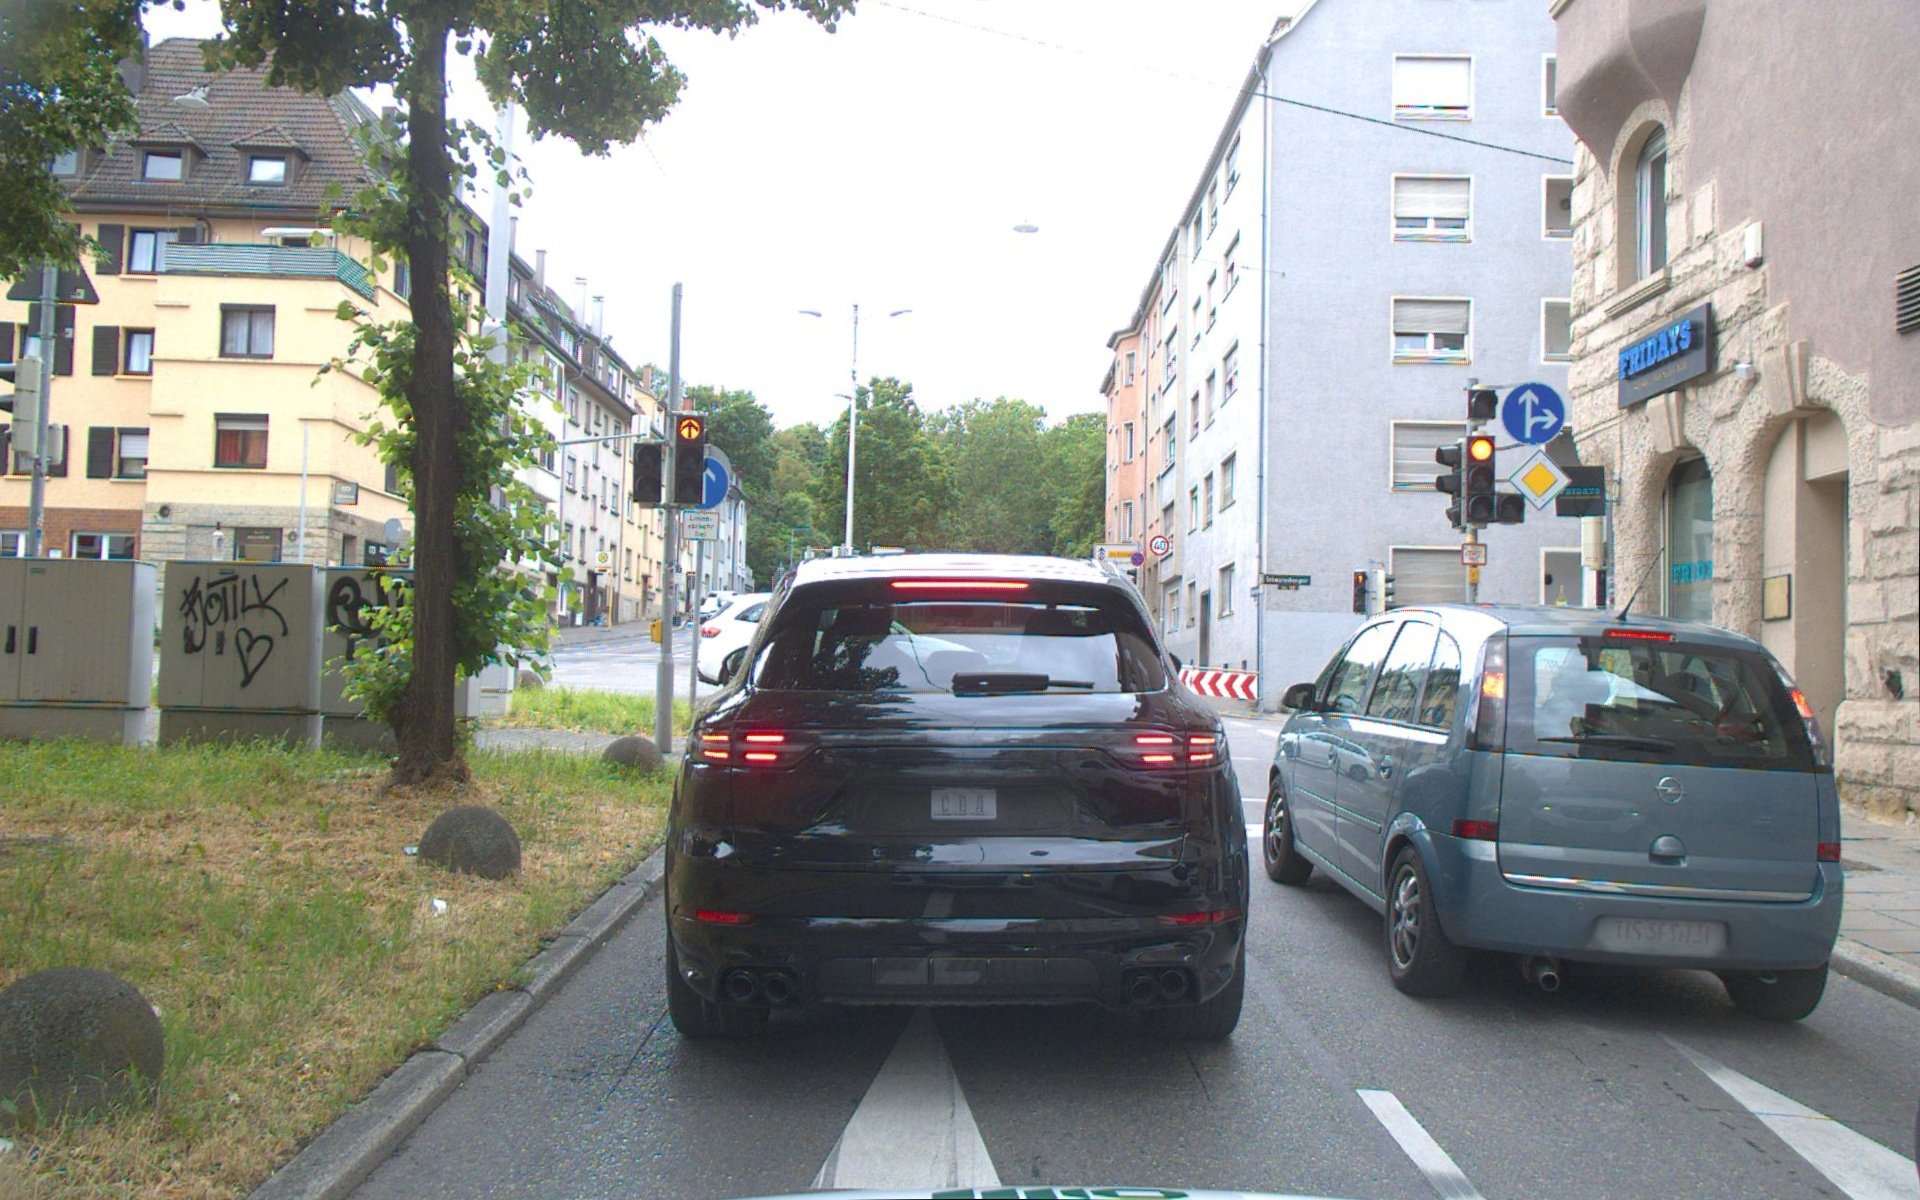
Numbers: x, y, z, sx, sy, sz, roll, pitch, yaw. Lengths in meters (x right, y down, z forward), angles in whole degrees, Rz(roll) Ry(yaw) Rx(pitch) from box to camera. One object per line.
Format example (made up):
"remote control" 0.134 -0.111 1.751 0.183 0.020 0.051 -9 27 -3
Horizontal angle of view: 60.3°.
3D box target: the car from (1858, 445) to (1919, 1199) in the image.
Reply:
"car" 2.904 0.661 1.040 1.936 1.806 4.674 4 0 -2

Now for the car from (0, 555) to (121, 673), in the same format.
"car" -14.046 0.152 22.670 4.161 1.547 1.662 2 -1 -12

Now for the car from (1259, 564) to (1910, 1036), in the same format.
"car" 2.630 0.742 7.907 1.596 1.625 3.668 4 0 -1

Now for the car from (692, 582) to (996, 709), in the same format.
"car" -1.666 0.656 23.802 4.168 1.622 1.688 2 -1 -6

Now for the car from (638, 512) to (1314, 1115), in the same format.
"car" 0.023 0.615 6.703 1.916 1.704 3.999 0 0 -1
